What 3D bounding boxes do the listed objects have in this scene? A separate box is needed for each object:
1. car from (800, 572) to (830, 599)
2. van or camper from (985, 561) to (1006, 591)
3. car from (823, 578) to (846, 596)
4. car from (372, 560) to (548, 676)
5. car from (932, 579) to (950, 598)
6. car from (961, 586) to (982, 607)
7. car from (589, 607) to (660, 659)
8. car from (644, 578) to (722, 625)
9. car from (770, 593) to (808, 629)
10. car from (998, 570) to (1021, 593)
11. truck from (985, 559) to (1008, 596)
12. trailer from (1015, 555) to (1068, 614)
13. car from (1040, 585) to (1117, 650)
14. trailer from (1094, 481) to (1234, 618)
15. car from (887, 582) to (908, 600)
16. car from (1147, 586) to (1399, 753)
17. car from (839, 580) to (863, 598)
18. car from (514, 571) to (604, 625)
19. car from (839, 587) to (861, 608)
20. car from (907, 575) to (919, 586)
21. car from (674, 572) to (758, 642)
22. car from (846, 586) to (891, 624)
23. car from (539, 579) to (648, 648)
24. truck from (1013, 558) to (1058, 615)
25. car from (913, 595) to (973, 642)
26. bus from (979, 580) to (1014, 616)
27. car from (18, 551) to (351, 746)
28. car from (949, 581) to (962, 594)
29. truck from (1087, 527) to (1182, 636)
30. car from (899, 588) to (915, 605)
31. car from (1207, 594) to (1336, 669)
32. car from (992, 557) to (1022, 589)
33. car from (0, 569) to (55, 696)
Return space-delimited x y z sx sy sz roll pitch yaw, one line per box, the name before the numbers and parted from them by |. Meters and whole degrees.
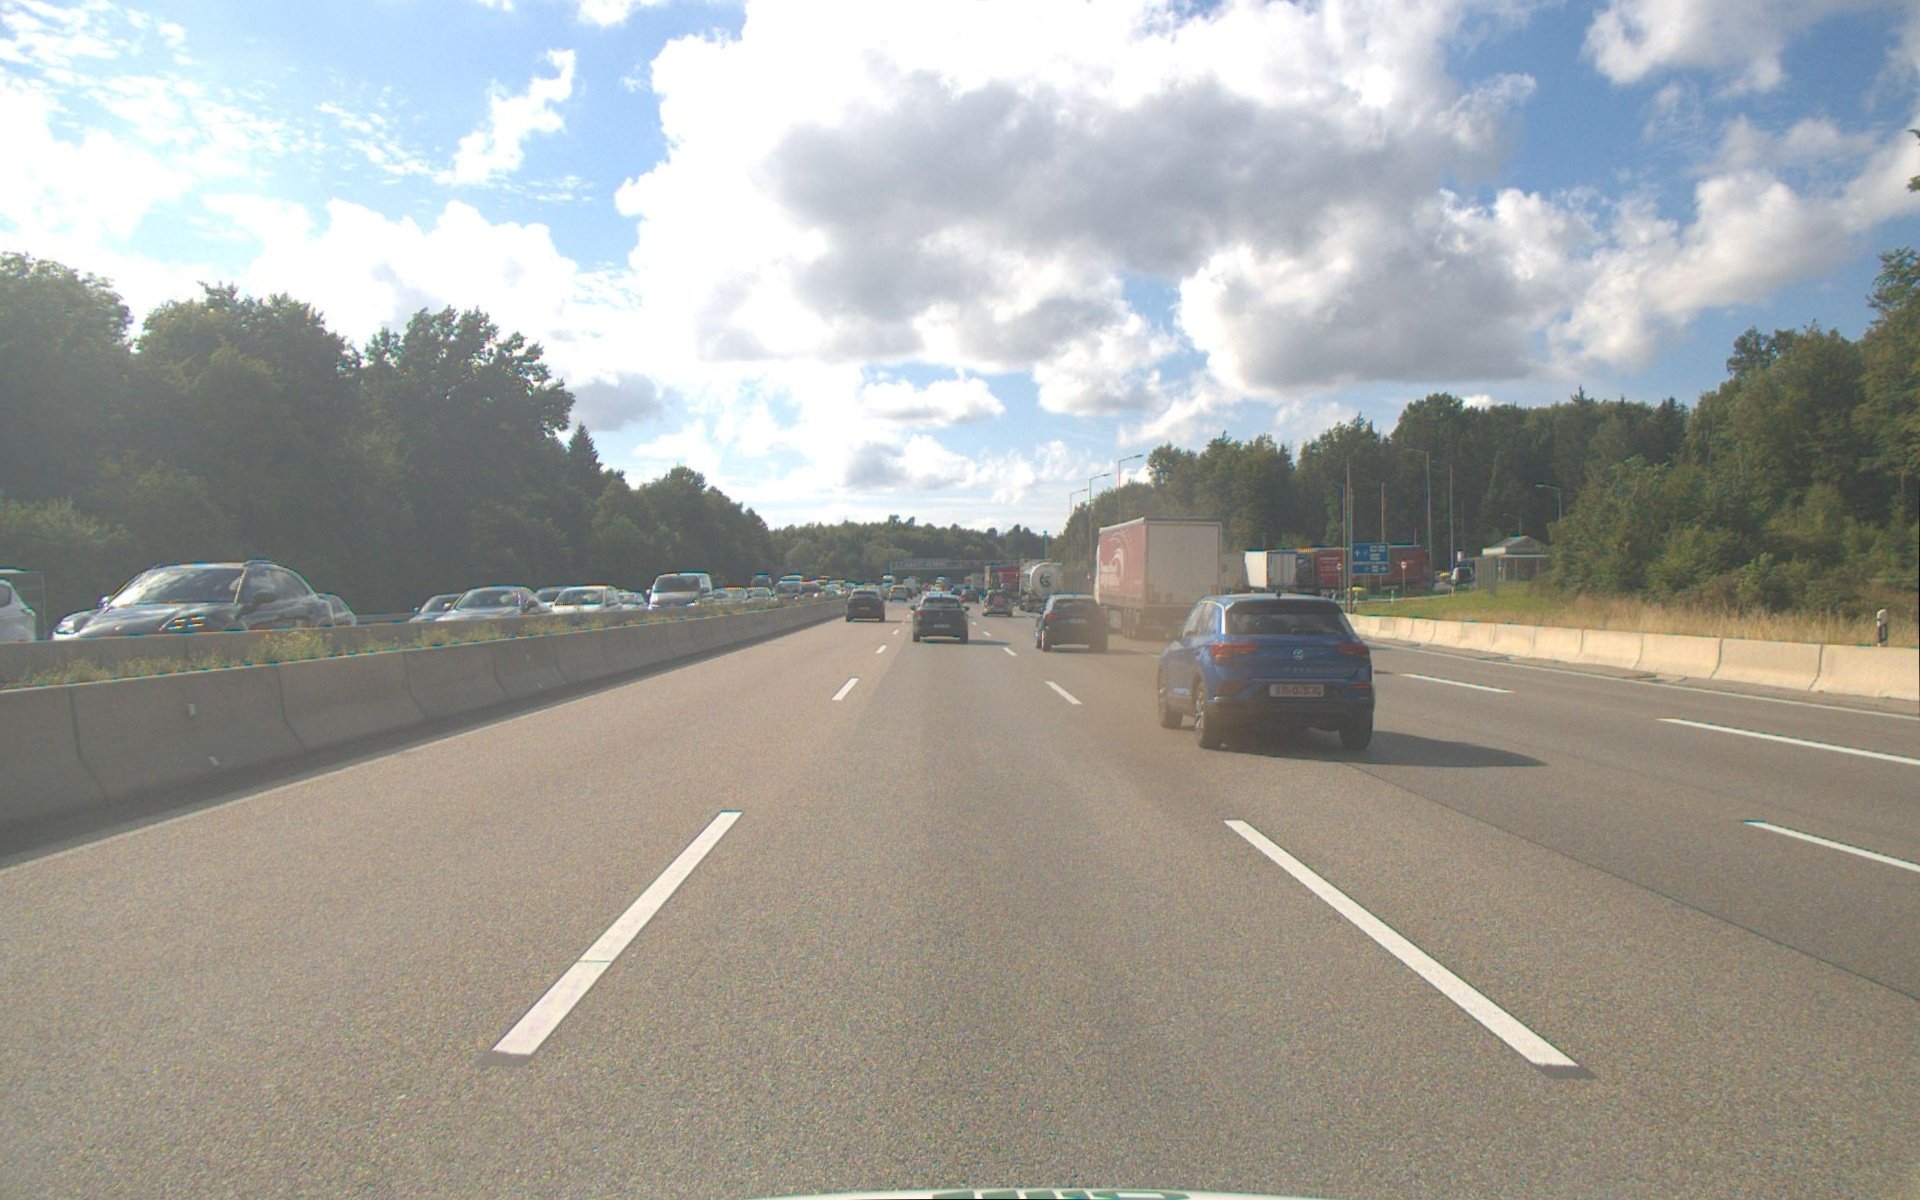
car | -10.085 -1.025 115.434 1.838 1.793 5.292 1 0 -3
van or camper | 4.091 -2.732 191.730 2.303 3.199 5.710 1 -1 0
car | -11.703 -1.219 154.359 1.729 1.600 4.357 1 0 0
car | -9.659 0.322 32.398 1.866 2.049 5.091 1 0 0
car | -2.171 -1.333 190.008 1.953 2.049 3.998 -1 -1 -1
car | 1.155 -0.358 169.597 1.953 2.049 3.999 1 -1 -1
car | -13.807 1.338 68.336 1.953 2.049 4.458 1 0 0
car | -9.941 0.019 59.636 1.953 1.600 4.815 1 1 0
car | -10.218 0.697 99.075 1.779 2.049 4.451 1 -1 0
car | 4.661 -1.761 156.658 1.953 2.049 3.998 1 -1 -1
truck | 4.050 -2.461 184.772 2.310 3.635 11.265 1 -1 0
trailer | 5.888 -1.010 121.547 2.975 4.086 12.240 0 -1 -1
car | 3.207 0.475 45.410 1.763 1.673 3.999 1 -1 -1
trailer | 7.027 -1.528 59.343 2.977 4.106 13.885 1 -1 -1
car | -6.639 -0.967 175.793 2.111 1.807 3.999 1 -1 -1
car | 3.271 0.696 18.201 1.885 1.568 4.645 1 -1 0
car | -10.677 -1.089 162.859 1.953 1.600 5.329 3 0 0
car | -13.910 -0.081 57.683 1.953 1.763 4.762 1 0 0
car | -11.395 -0.235 172.036 1.953 2.049 4.676 1 -1 0
car | -6.955 -2.825 243.897 1.590 1.496 3.814 2 0 0
car | -7.213 0.163 49.283 1.953 1.954 4.000 1 1 -1
car | -4.470 0.223 81.289 1.953 1.807 3.999 1 0 -1
car | -10.114 0.351 46.044 1.953 1.766 5.089 1 0 -1
truck | 5.761 -1.001 127.635 2.984 4.233 7.125 1 -1 -1
car | -0.565 0.586 52.080 1.699 1.389 3.997 1 -1 -3
bus | 2.192 -0.098 100.481 1.953 2.049 3.999 1 -1 -1
car | -9.124 0.514 19.943 1.844 2.049 4.519 1 0 0
car | -0.745 -1.939 261.522 1.953 2.049 3.999 2 0 -1
truck | 6.883 -0.638 66.058 3.018 4.135 6.067 1 -1 -1
car | -6.524 -0.484 204.800 1.953 2.049 3.999 1 0 -1
car | 6.741 0.674 36.249 1.681 1.538 4.297 0 -1 -5
car | 4.715 -2.697 167.199 2.808 3.044 5.148 1 -1 0
car | -13.268 0.376 20.405 1.953 1.624 3.999 1 -1 0
